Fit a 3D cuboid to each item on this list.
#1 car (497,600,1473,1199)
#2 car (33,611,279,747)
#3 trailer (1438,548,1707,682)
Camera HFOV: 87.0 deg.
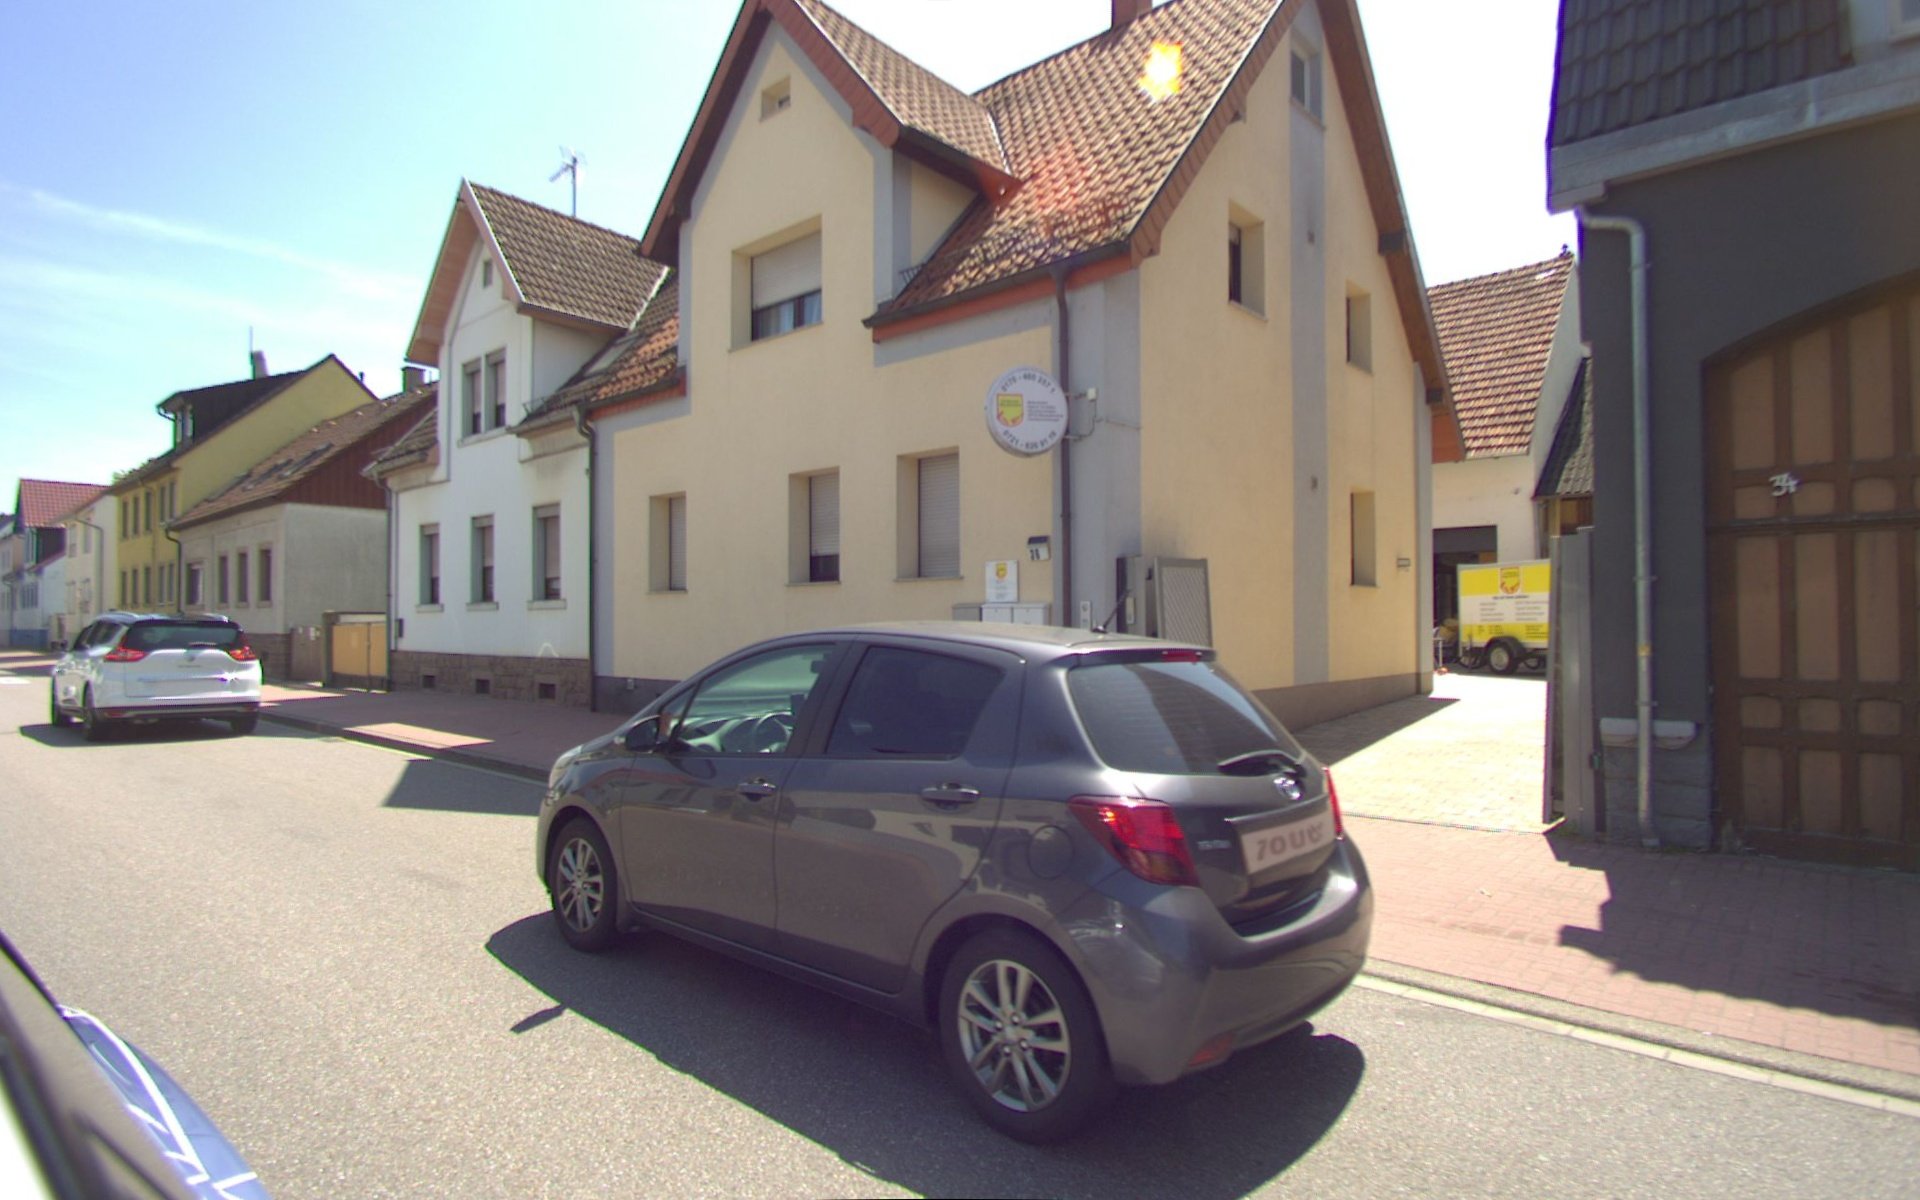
[{"bbox_3d":[-0.210,0.806,4.235,3.927,1.470,1.658,-1,-4,42],"label":"car"},{"bbox_3d":[-11.366,1.020,14.199,4.429,1.615,1.854,-1,-4,41],"label":"car"},{"bbox_3d":[10.737,0.291,18.107,1.708,2.121,3.930,0,-2,-17],"label":"trailer"}]
